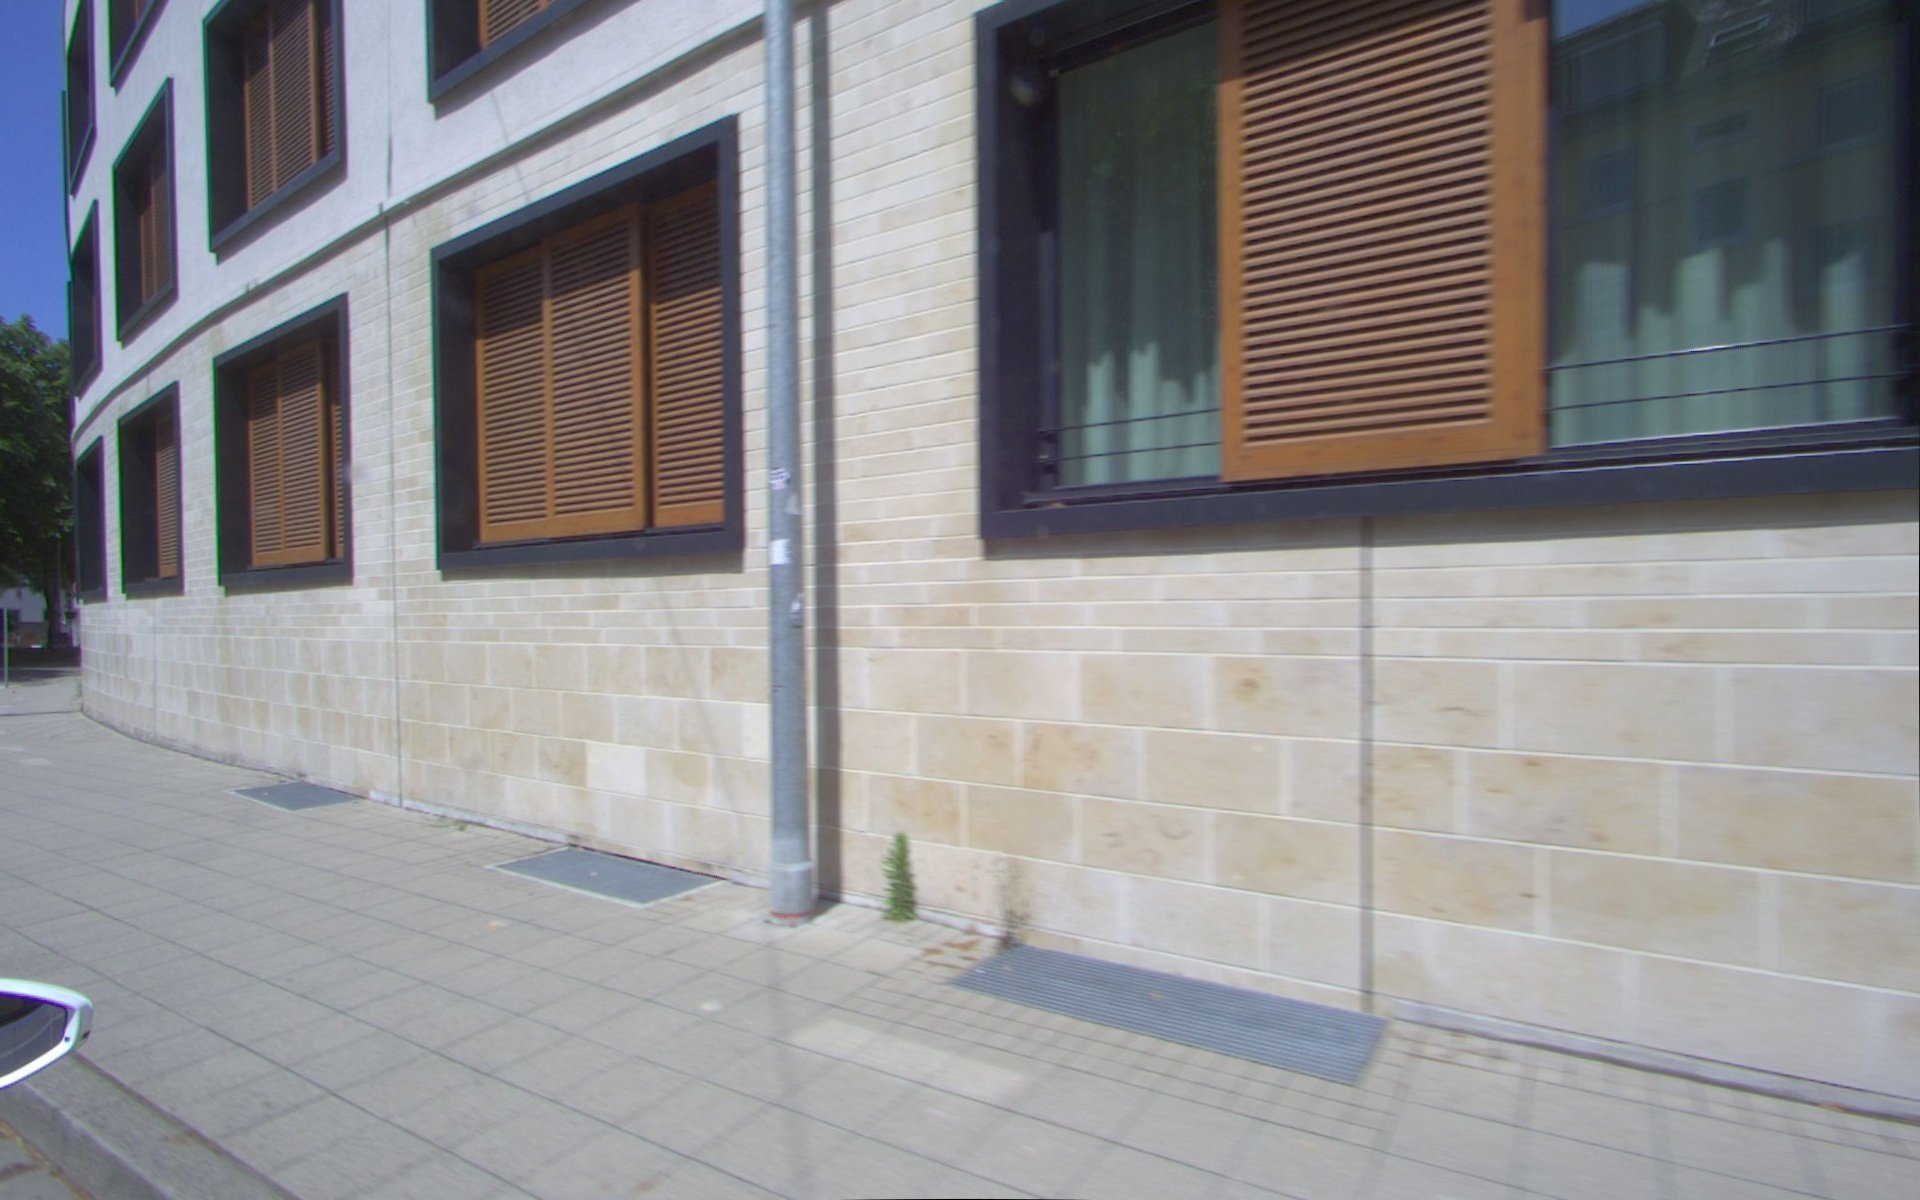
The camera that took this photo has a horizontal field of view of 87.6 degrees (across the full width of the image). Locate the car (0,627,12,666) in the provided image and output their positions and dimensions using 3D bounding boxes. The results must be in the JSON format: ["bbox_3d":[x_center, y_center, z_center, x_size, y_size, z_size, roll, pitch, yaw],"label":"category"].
[{"bbox_3d":[-37.746,1.768,37.056,1.710,1.507,4.405,0,-1,-10],"label":"car"}]
